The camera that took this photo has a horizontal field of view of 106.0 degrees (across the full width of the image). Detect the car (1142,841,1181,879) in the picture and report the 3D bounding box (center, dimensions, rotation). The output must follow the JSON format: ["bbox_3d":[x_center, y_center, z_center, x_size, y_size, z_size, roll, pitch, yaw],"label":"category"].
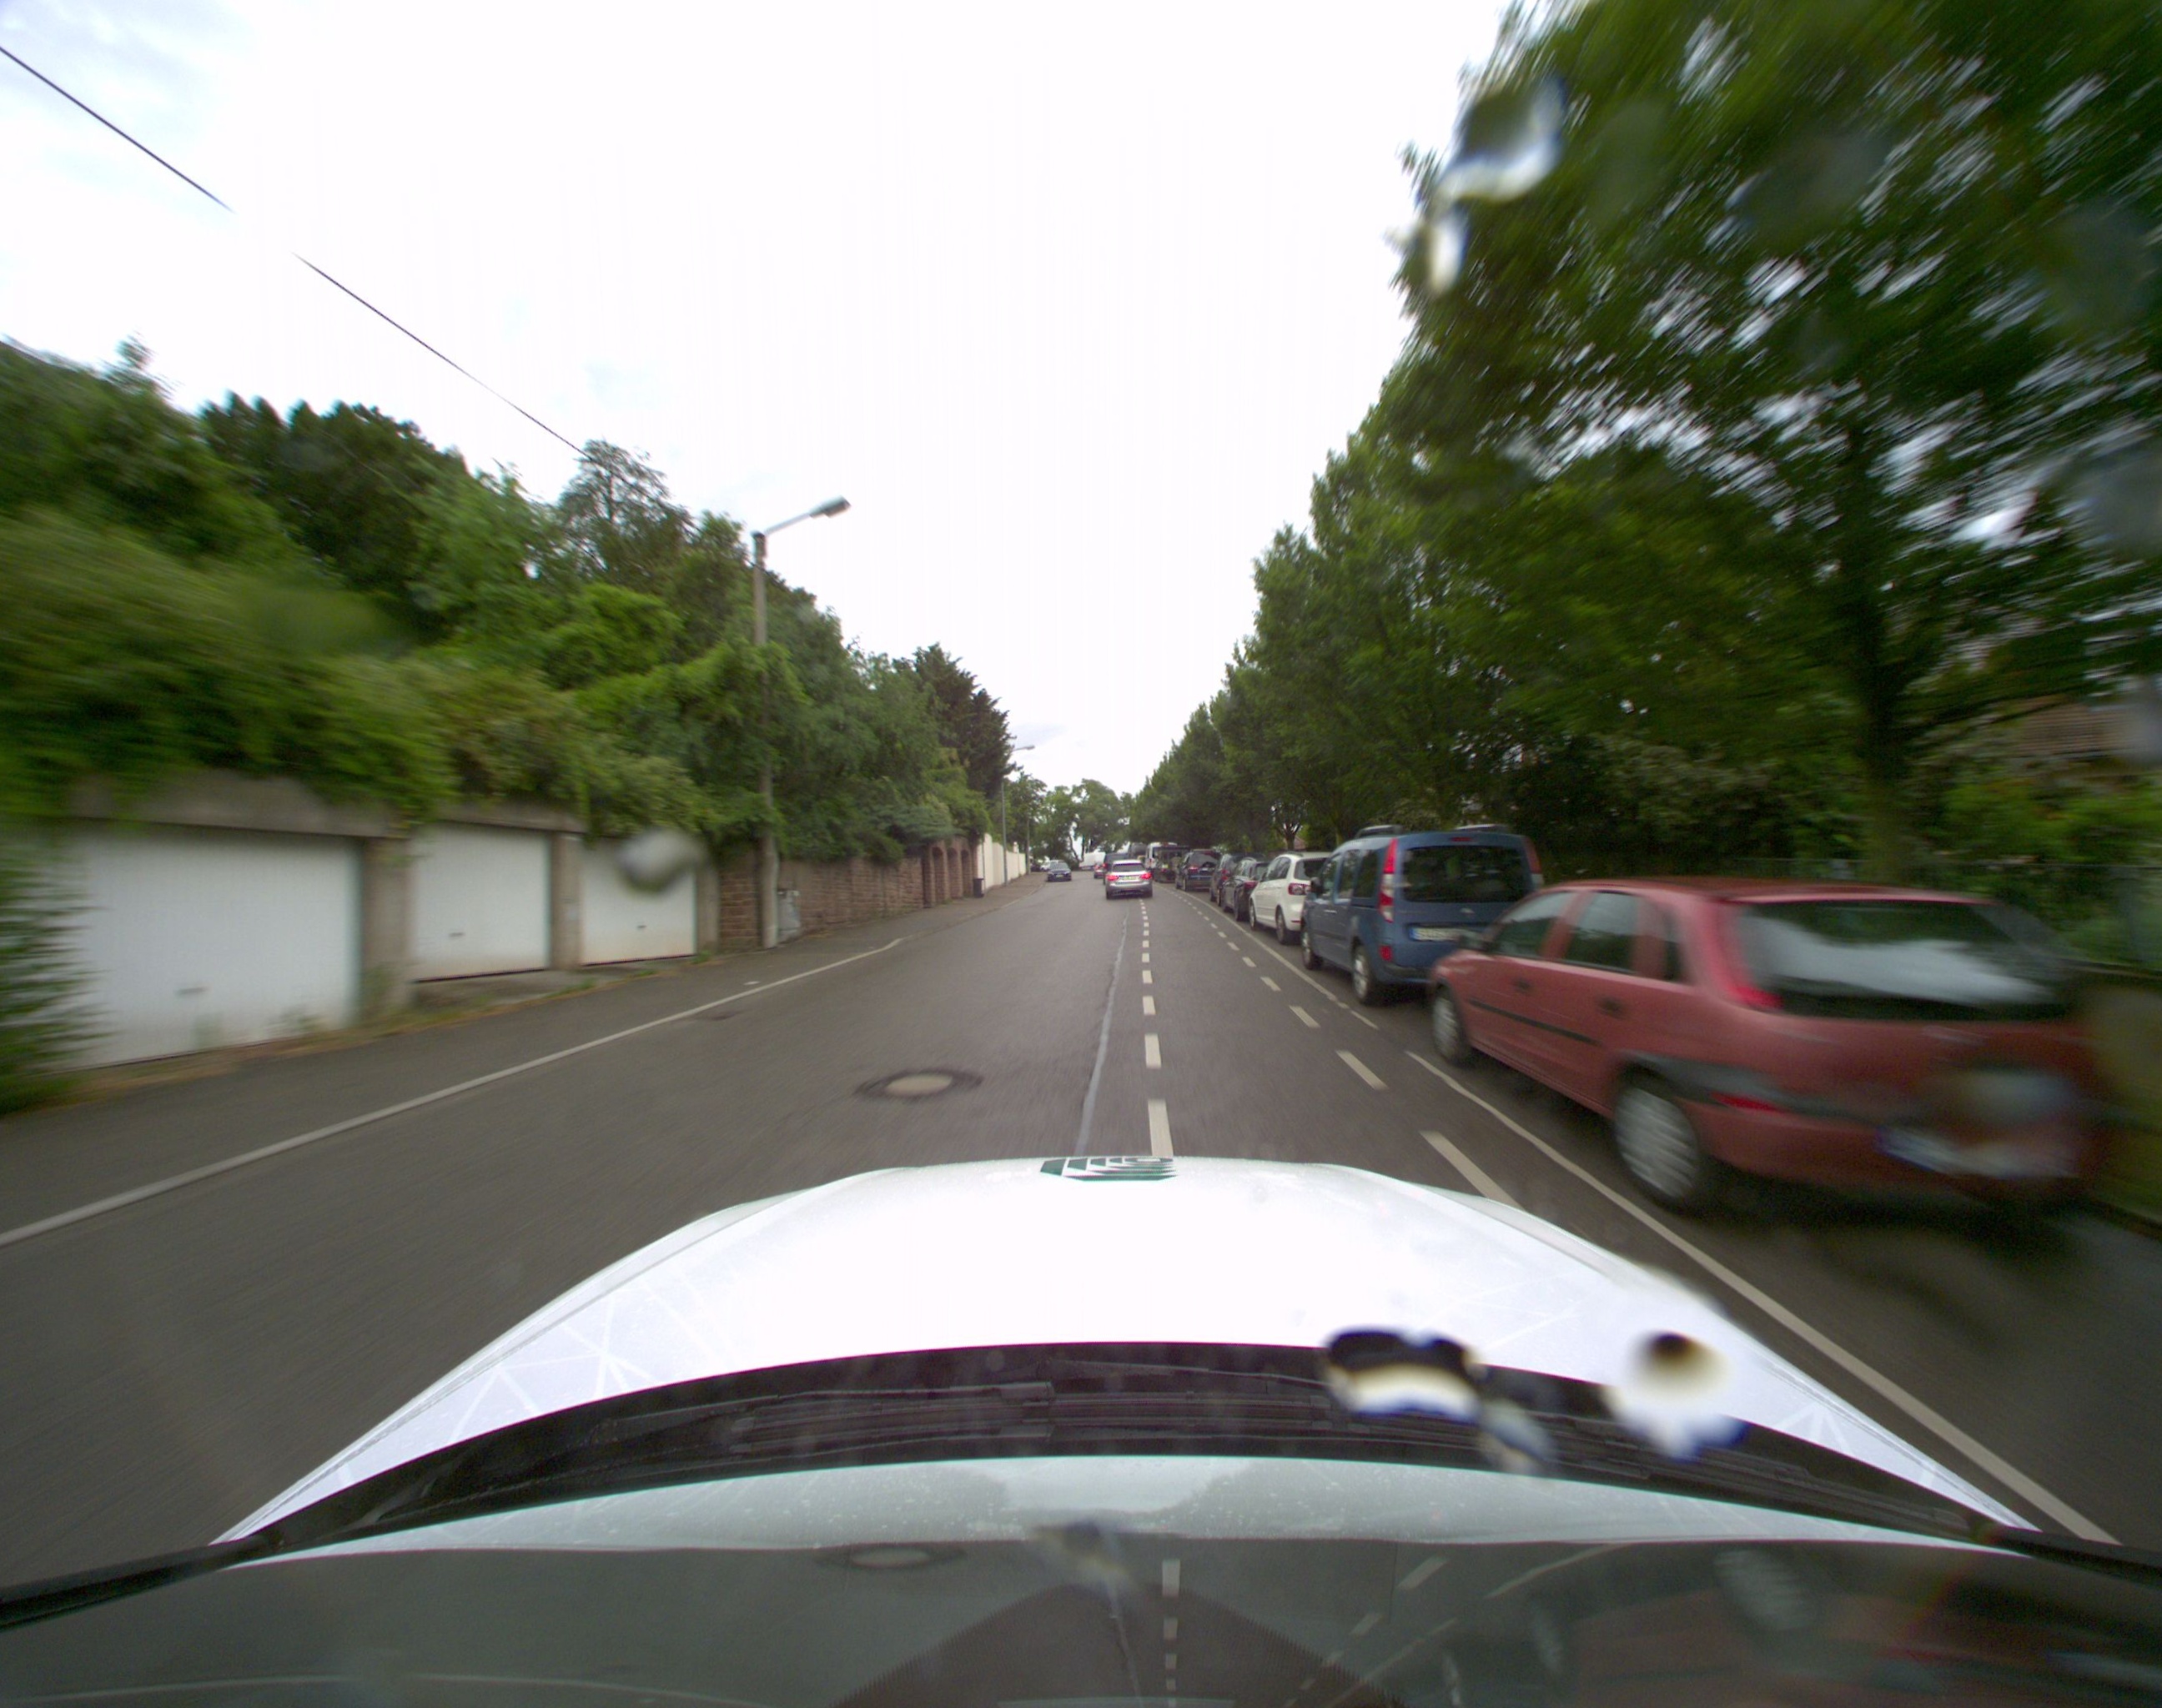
[{"bbox_3d":[5.550,0.431,57.039,2.166,2.493,6.033,1,0,0],"label":"car"}]

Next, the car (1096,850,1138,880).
[{"bbox_3d":[2.171,0.693,49.753,1.991,1.708,3.991,0,-2,-6],"label":"car"}]

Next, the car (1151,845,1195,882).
[{"bbox_3d":[5.475,0.569,49.065,1.987,2.052,5.119,0,-1,-1],"label":"car"}]

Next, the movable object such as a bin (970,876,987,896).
[{"bbox_3d":[-4.889,1.508,38.820,0.655,0.919,0.678,-1,-1,2],"label":"movable object such as a bin"}]

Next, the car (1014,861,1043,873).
[{"bbox_3d":[-8.265,2.034,128.636,4.612,1.698,1.982,0,-1,44],"label":"car"}]

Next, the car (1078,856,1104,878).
[{"bbox_3d":[0.794,1.054,64.098,1.986,1.708,4.001,0,-2,1],"label":"car"}]

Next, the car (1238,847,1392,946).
[{"bbox_3d":[4.269,0.706,15.538,1.777,1.609,4.224,-1,0,1],"label":"car"}]

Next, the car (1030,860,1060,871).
[{"bbox_3d":[-5.601,1.781,125.995,4.439,1.698,1.983,0,-1,40],"label":"car"}]

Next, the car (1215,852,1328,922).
[{"bbox_3d":[4.619,0.755,20.456,1.985,1.537,4.854,0,0,4],"label":"car"}]

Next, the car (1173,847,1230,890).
[{"bbox_3d":[5.254,0.614,36.178,1.775,1.783,4.677,-1,0,-1],"label":"car"}]

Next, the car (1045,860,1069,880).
[{"bbox_3d":[-1.837,1.230,62.839,1.743,1.357,4.422,-3,0,-1],"label":"car"}]

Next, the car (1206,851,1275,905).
[{"bbox_3d":[4.978,0.711,25.836,1.685,1.570,3.926,-1,0,4],"label":"car"}]

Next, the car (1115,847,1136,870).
[{"bbox_3d":[4.999,0.487,91.983,2.057,2.494,4.758,1,0,0],"label":"car"}]

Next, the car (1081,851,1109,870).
[{"bbox_3d":[1.929,0.916,115.056,2.136,2.527,4.459,1,0,-25],"label":"car"}]

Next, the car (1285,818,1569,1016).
[{"bbox_3d":[3.802,0.598,9.860,1.770,1.852,4.428,0,0,3],"label":"car"}]

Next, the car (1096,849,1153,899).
[{"bbox_3d":[1.688,0.744,32.147,2.017,1.708,4.218,-3,0,2],"label":"car"}]

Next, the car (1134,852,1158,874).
[{"bbox_3d":[5.534,0.736,69.878,1.722,1.785,4.275,2,0,0],"label":"car"}]

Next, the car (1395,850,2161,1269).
[{"bbox_3d":[3.353,0.745,4.939,1.641,1.482,4.025,0,-1,5],"label":"car"}]

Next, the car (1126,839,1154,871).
[{"bbox_3d":[5.463,0.112,76.210,2.118,2.887,5.766,1,0,-1],"label":"car"}]
